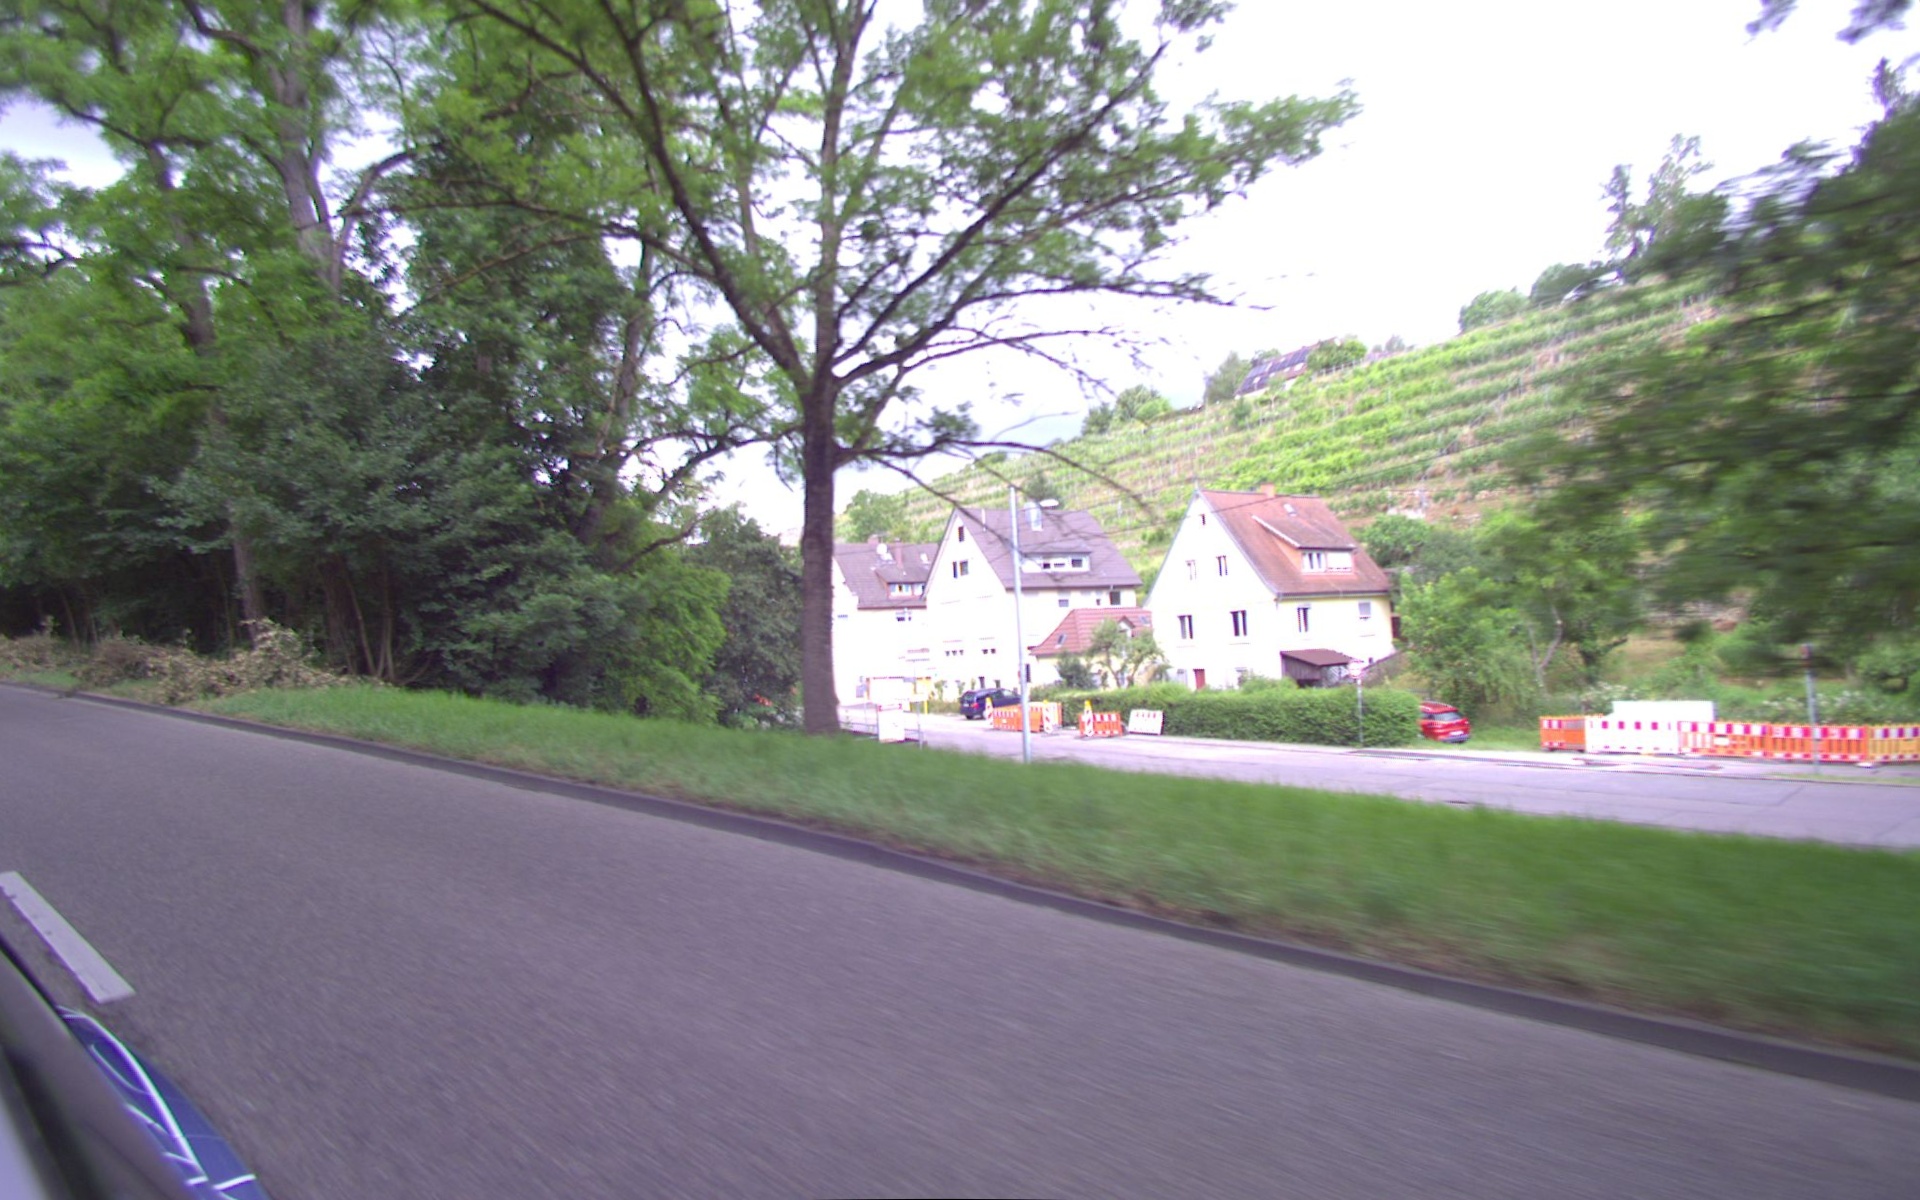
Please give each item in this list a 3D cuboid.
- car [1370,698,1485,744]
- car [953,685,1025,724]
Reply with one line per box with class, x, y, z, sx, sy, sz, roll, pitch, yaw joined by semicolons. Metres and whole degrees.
car;16.606;4.282;36.187;1.728;1.400;4.008;3;-5;-10
car;1.672;6.018;58.563;3.785;1.896;1.725;-2;-2;-34
